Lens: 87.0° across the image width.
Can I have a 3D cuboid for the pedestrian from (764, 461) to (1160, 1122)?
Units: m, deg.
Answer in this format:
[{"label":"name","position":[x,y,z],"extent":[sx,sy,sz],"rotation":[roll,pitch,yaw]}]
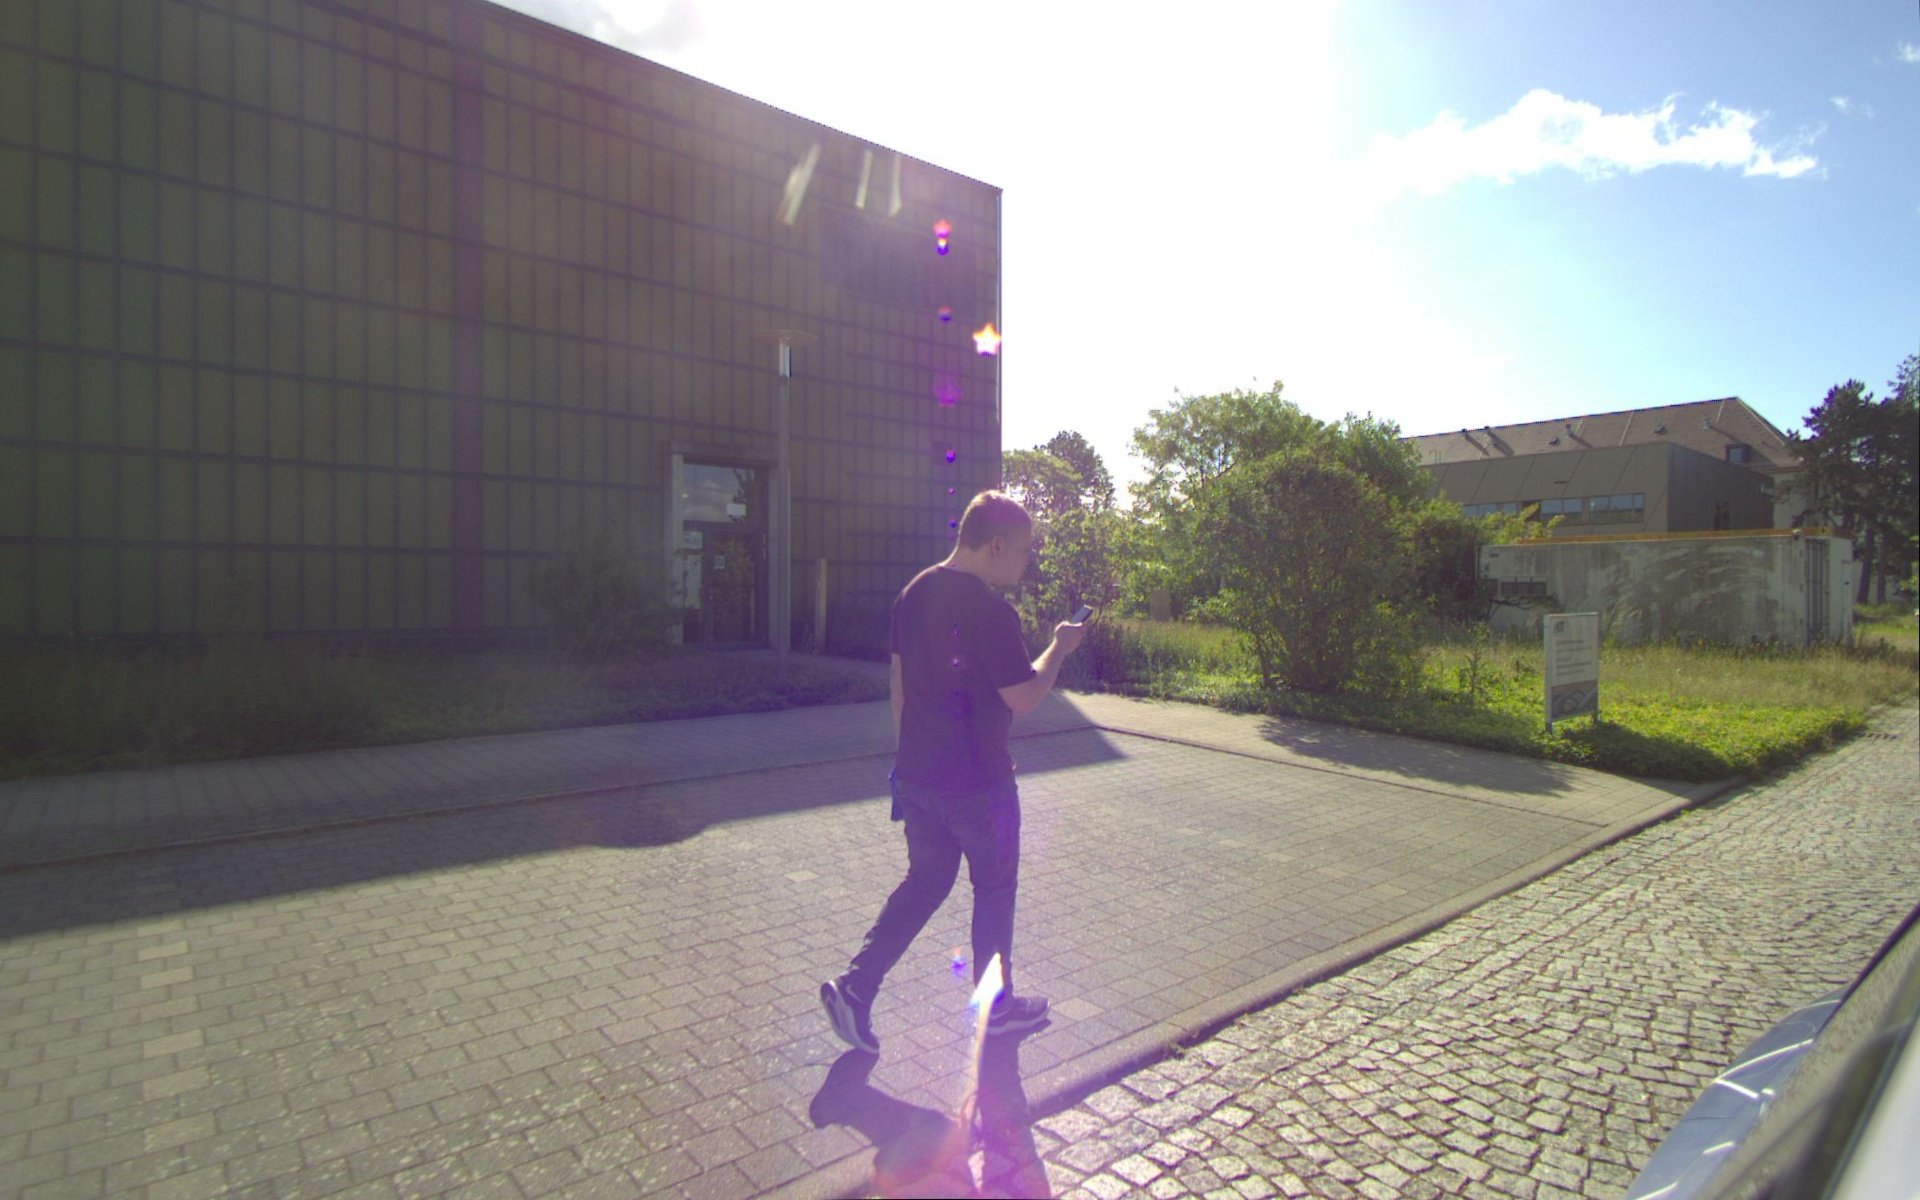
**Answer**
[{"label":"pedestrian","position":[0.014,0.510,3.405],"extent":[1.050,1.803,0.796],"rotation":[0,1,-42]}]
